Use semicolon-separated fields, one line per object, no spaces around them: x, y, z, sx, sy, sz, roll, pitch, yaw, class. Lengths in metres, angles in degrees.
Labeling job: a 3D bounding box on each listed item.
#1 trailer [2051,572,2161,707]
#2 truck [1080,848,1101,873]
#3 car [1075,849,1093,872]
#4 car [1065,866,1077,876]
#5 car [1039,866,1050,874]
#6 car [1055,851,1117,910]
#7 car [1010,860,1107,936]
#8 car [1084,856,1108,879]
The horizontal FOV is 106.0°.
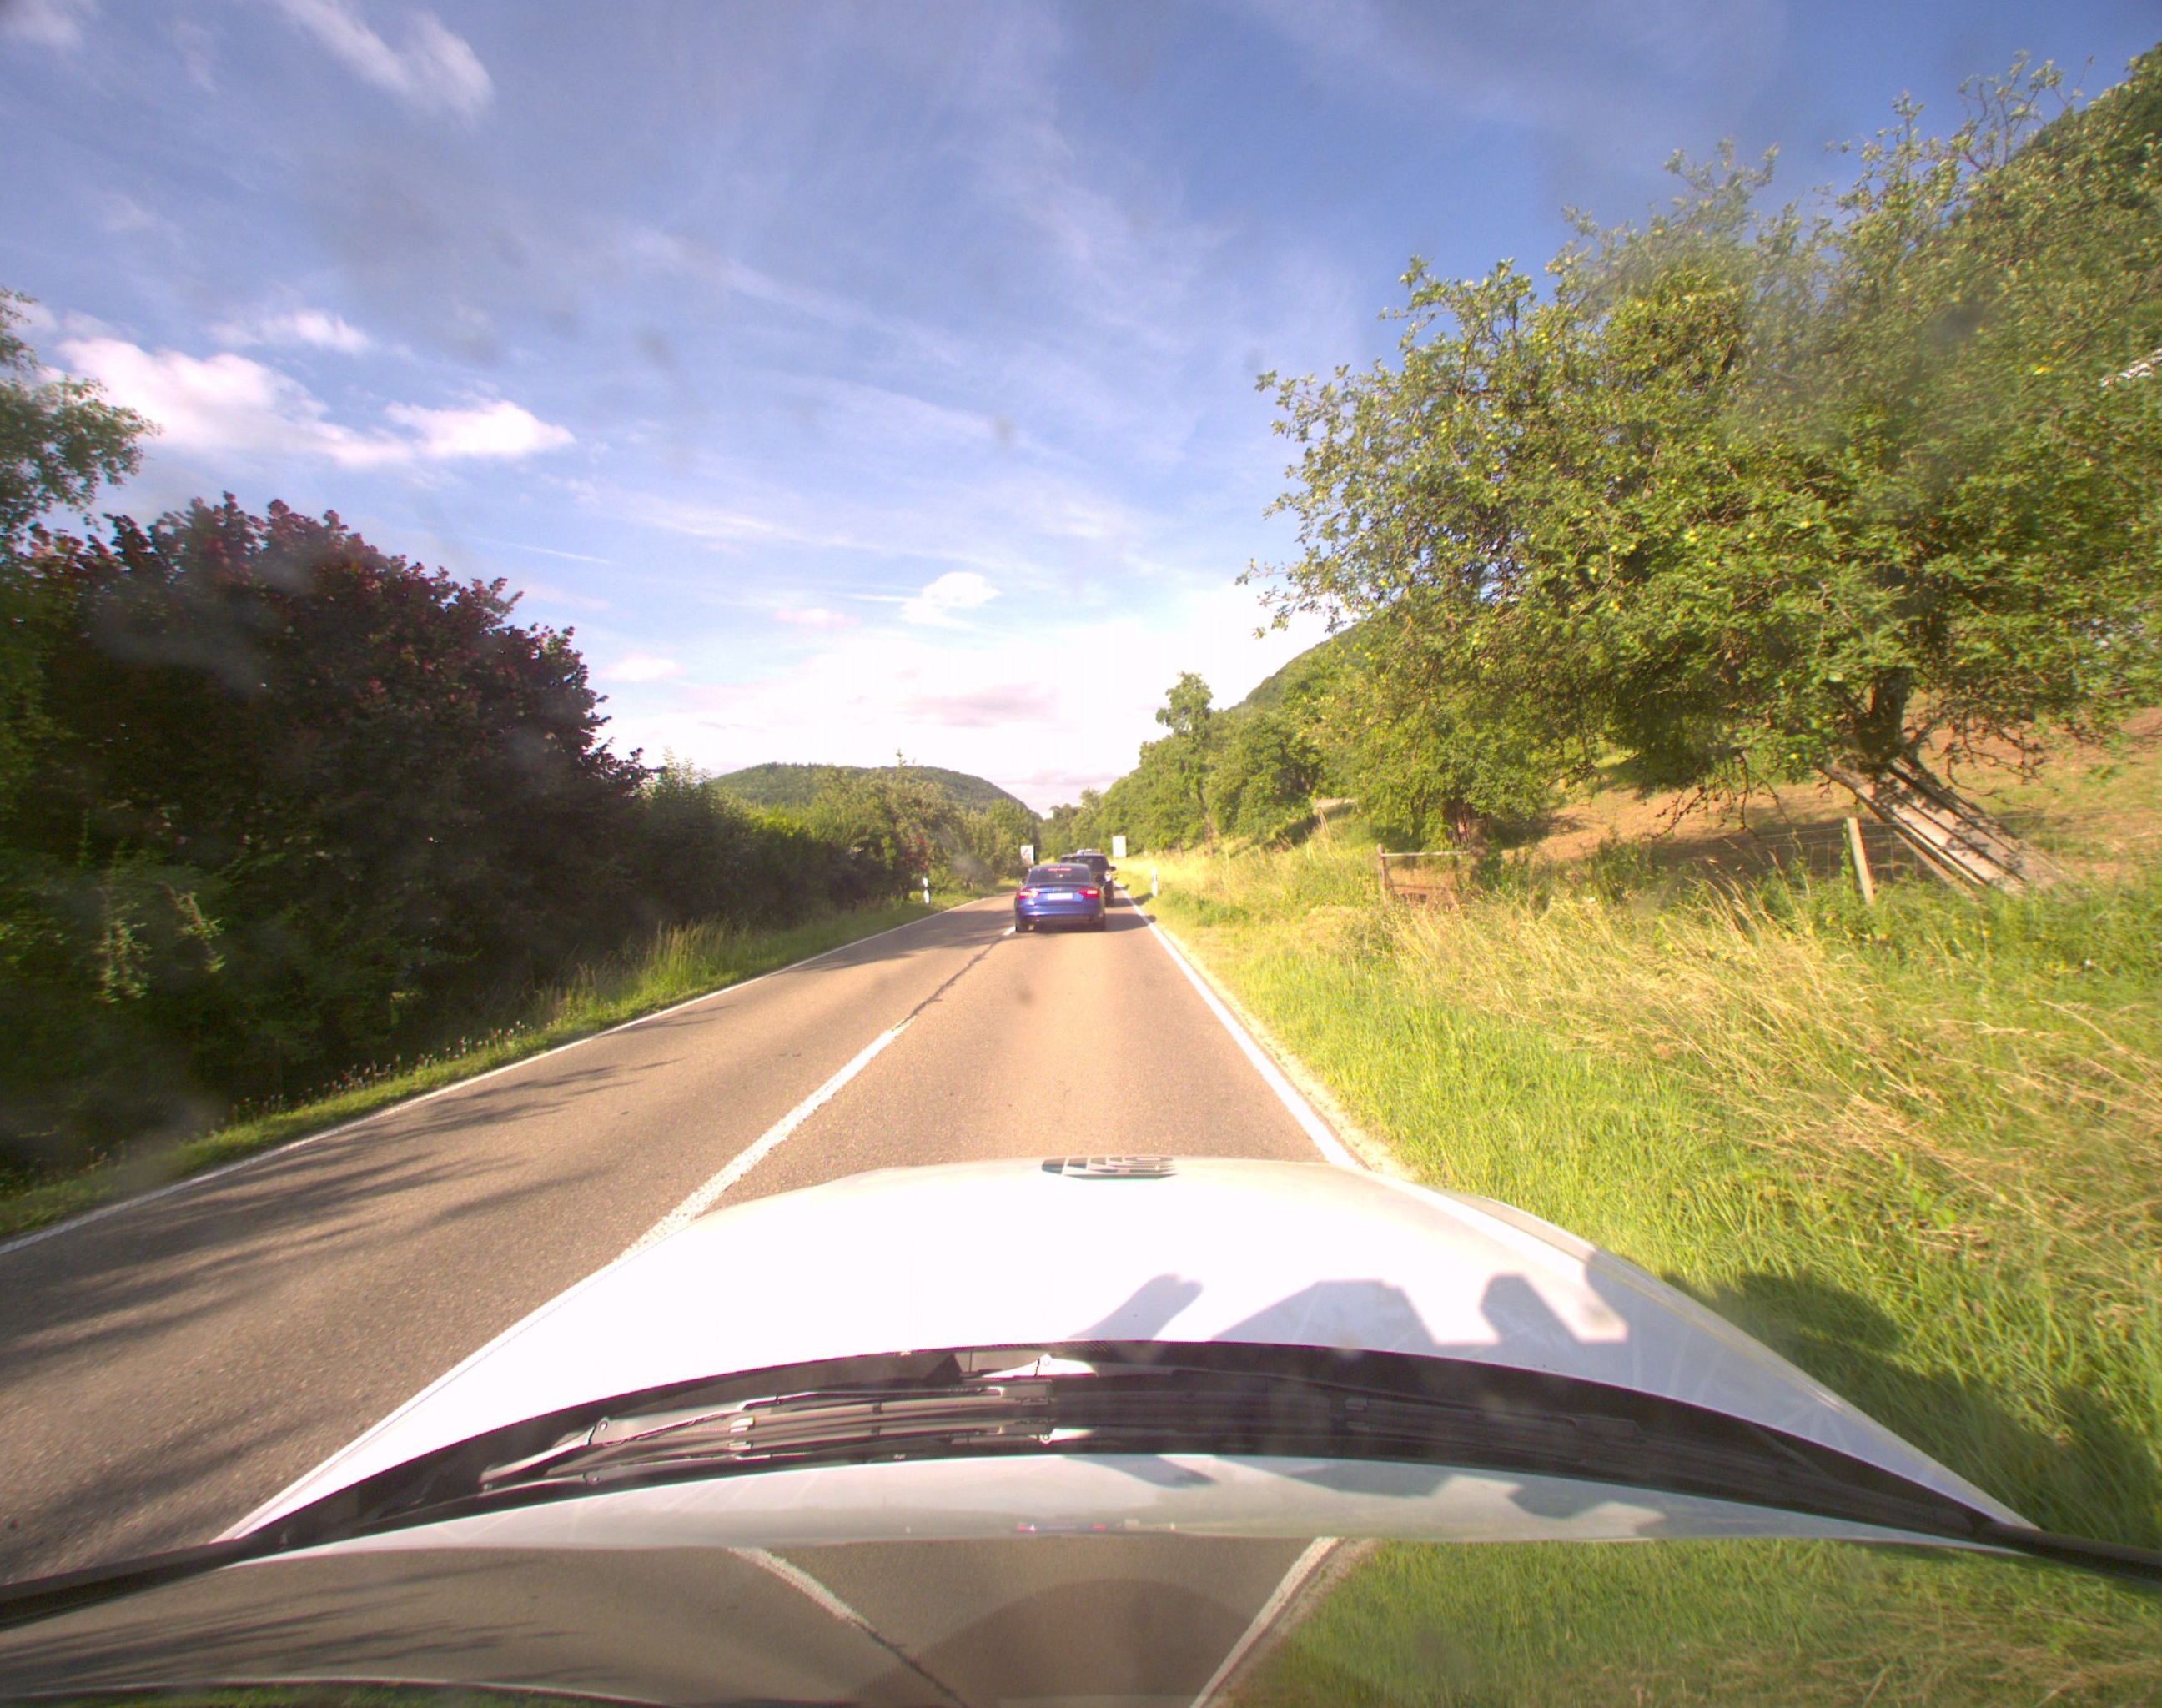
23.808;-4.672;16.420;2.147;2.557;5.243;-5;3;-3;trailer
0.865;0.638;78.303;1.944;2.345;5.093;0;0;0;truck
0.351;0.722;88.767;1.787;2.453;3.916;0;0;-2;car
-1.696;2.869;138.289;1.558;1.496;3.768;0;0;-8;car
-7.588;3.352;168.448;1.560;1.496;3.763;0;0;-12;car
0.163;0.744;24.829;1.687;1.624;3.789;-2;0;0;car
-0.383;0.854;17.574;1.799;1.382;4.215;-2;-1;1;car
1.099;0.997;61.603;1.687;1.624;3.789;-2;0;0;car
